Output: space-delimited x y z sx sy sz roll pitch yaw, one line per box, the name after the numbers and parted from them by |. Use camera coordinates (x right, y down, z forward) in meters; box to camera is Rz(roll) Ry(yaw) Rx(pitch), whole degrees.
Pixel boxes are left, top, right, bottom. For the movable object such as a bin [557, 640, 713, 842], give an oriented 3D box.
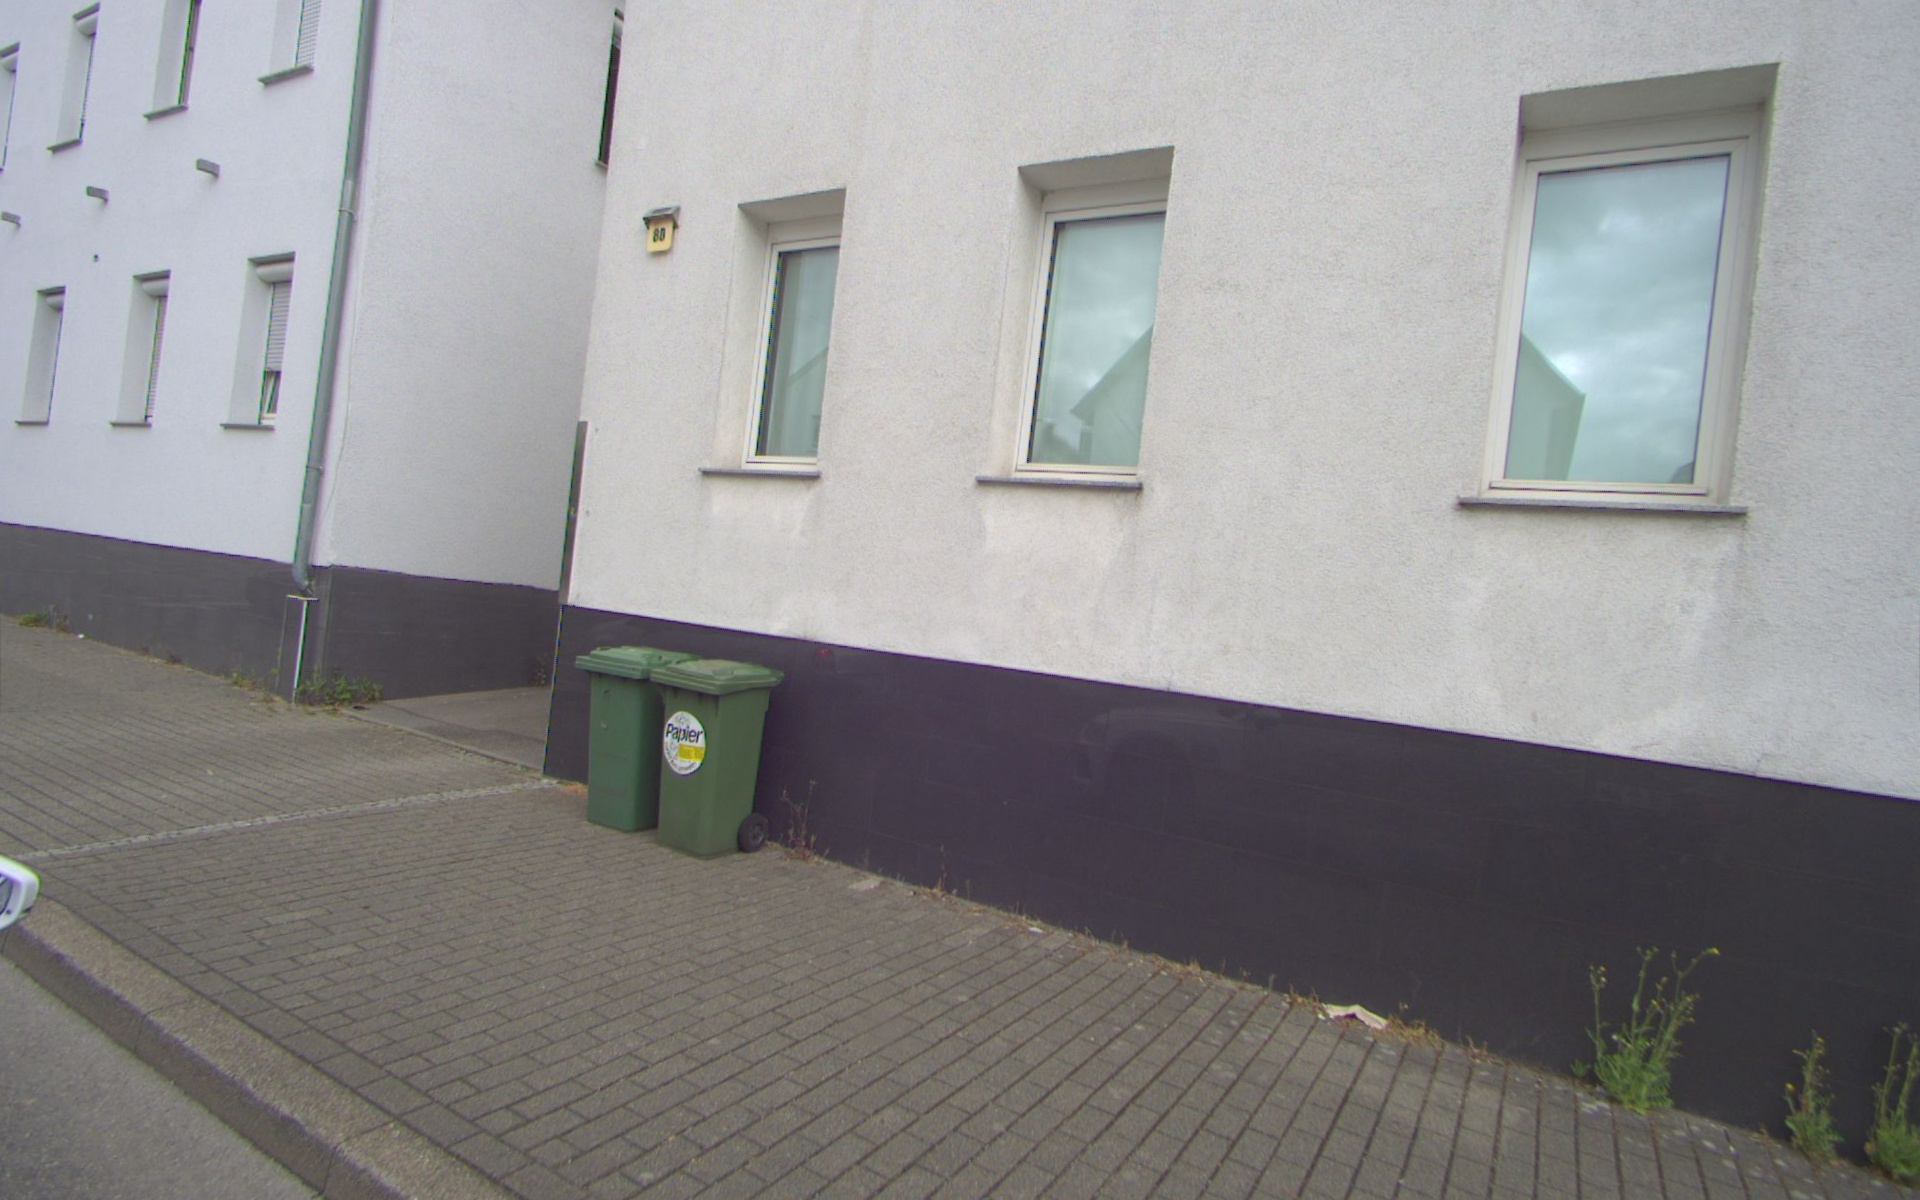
-1.711 0.712 5.316 0.479 0.953 0.540 7 2 32 | movable object such as a bin

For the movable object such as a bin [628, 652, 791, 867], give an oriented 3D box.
-1.253 0.765 5.058 0.479 0.953 0.540 7 2 32 | movable object such as a bin
